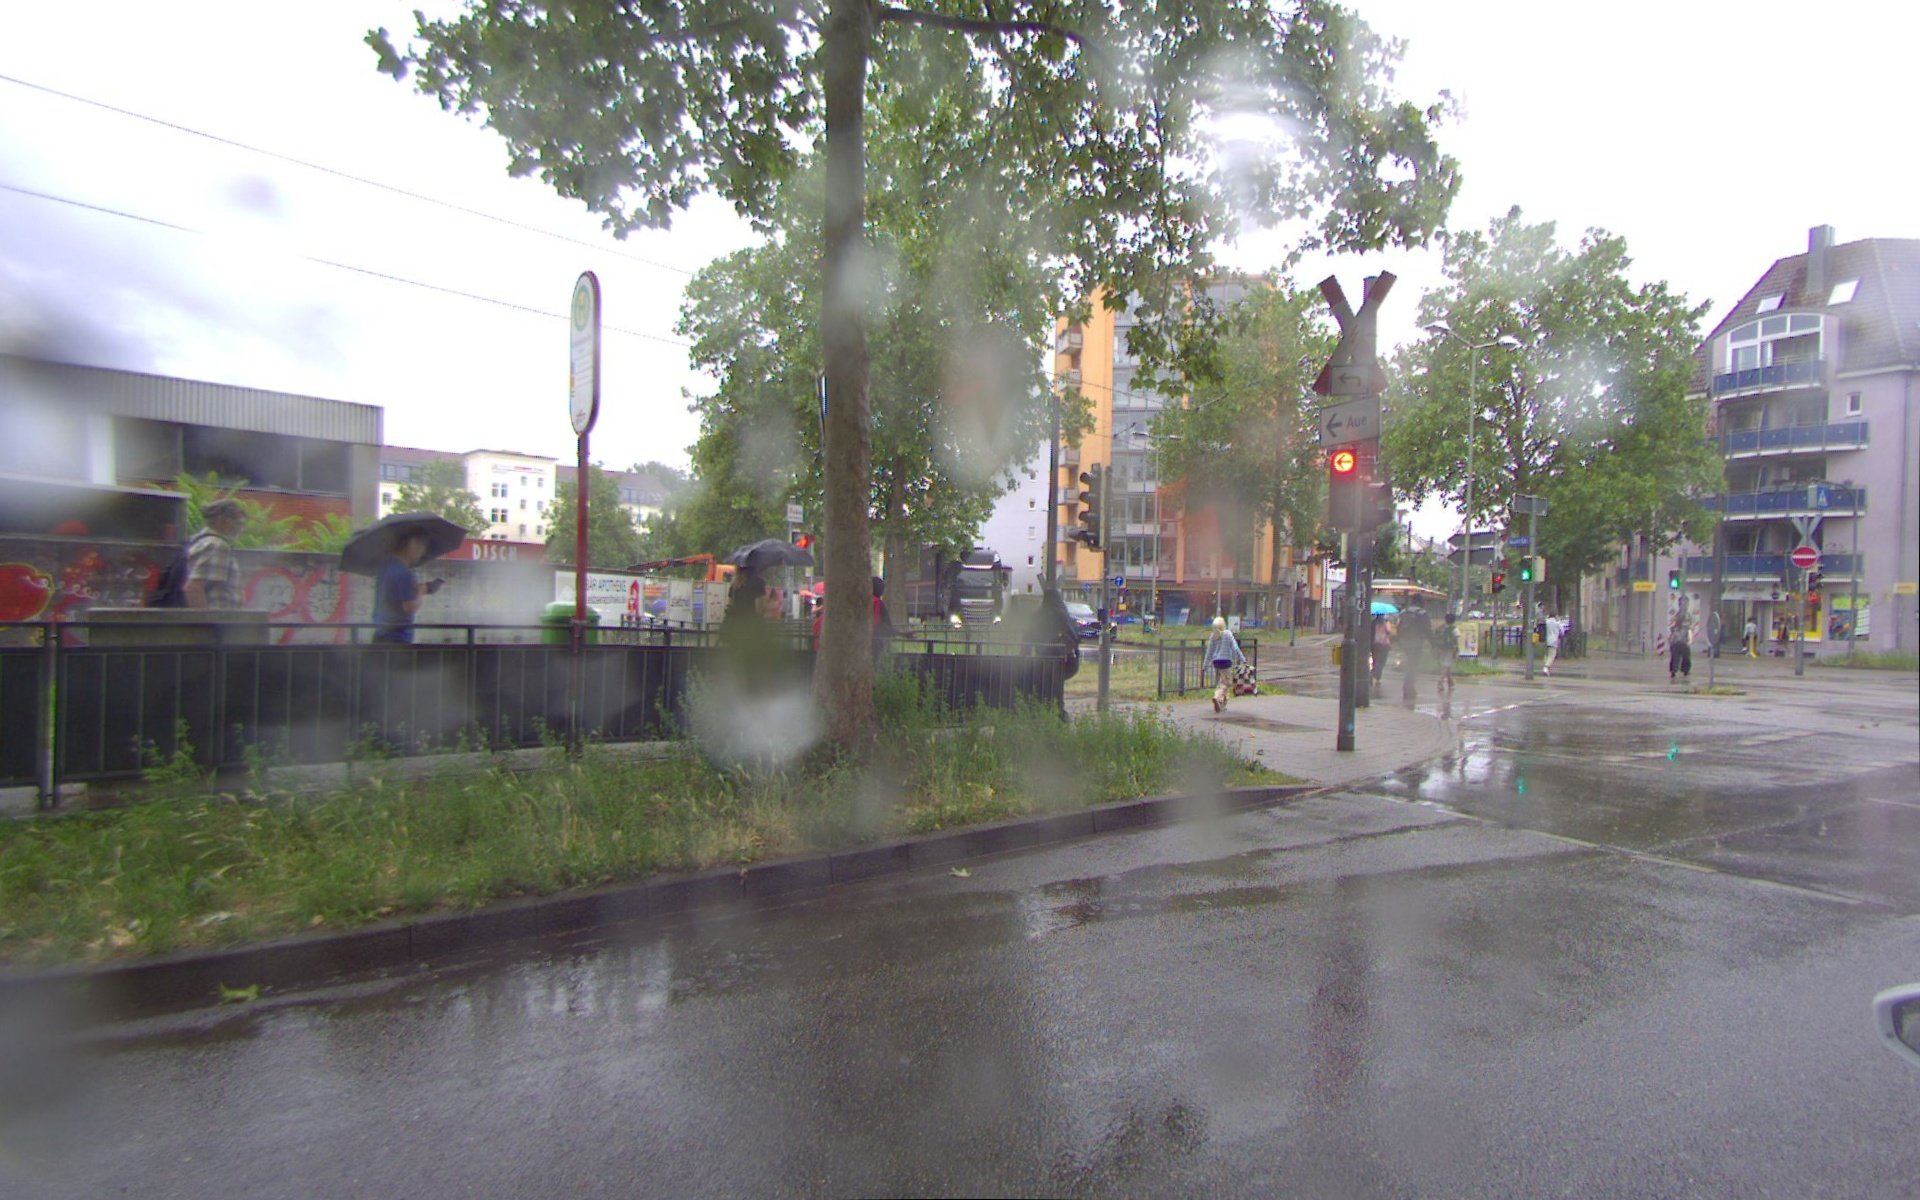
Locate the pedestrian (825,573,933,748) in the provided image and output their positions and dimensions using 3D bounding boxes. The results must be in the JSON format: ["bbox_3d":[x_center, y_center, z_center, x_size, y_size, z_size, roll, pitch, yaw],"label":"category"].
[{"bbox_3d":[-0.810,0.573,10.016,0.810,1.646,0.723,0,0,-39],"label":"pedestrian"}]

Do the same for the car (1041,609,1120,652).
[{"bbox_3d":[4.789,1.193,40.472,1.585,1.551,4.017,1,1,-19],"label":"car"}]

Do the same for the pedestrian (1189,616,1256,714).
[{"bbox_3d":[3.850,0.935,14.729,0.704,1.367,0.650,1,1,-44],"label":"pedestrian"}]

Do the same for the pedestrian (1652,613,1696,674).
[{"bbox_3d":[18.746,1.132,26.372,0.785,1.553,0.743,2,0,-41],"label":"pedestrian"}]

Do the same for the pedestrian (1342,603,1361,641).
[{"bbox_3d":[23.043,1.289,59.109,0.871,2.179,0.910,2,0,29],"label":"pedestrian"}]

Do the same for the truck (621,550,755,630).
[{"bbox_3d":[-11.757,-0.411,43.610,5.383,3.205,2.164,2,0,-16],"label":"truck"}]

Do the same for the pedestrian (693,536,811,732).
[{"bbox_3d":[-1.897,0.309,9.194,0.783,1.705,0.659,-2,0,23],"label":"pedestrian"}]

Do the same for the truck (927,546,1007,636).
[{"bbox_3d":[0.263,-0.398,46.050,2.593,3.842,4.444,2,0,-13],"label":"truck"}]

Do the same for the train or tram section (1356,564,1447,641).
[{"bbox_3d":[26.056,0.261,58.624,2.839,3.818,17.211,2,0,30],"label":"train or tram section"}]

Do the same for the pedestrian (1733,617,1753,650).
[{"bbox_3d":[35.614,1.509,45.684,0.553,1.477,0.444,2,0,-18],"label":"pedestrian"}]

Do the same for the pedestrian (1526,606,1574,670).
[{"bbox_3d":[15.455,0.993,26.302,0.956,1.622,0.670,2,0,-30],"label":"pedestrian"}]

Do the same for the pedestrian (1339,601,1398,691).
[{"bbox_3d":[8.429,0.932,20.715,0.943,1.789,0.951,2,0,31],"label":"pedestrian"}]

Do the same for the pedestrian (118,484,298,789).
[{"bbox_3d":[-4.846,0.213,6.467,0.825,1.778,0.856,1,1,-43],"label":"pedestrian"}]

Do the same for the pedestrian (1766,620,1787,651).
[{"bbox_3d":[35.970,1.572,44.258,0.551,1.347,0.444,2,0,-11],"label":"pedestrian"}]

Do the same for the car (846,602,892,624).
[{"bbox_3d":[-8.267,1.155,90.928,3.930,1.808,1.996,2,0,-12],"label":"car"}]

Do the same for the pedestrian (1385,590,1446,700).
[{"bbox_3d":[8.086,0.771,17.814,0.779,1.880,0.678,2,1,42],"label":"pedestrian"}]

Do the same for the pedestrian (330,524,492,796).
[{"bbox_3d":[-4.148,0.415,7.589,0.885,1.889,0.861,1,1,-42],"label":"pedestrian"}]

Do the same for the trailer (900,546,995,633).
[{"bbox_3d":[-0.831,-0.474,50.740,2.593,3.899,10.114,2,0,-13],"label":"trailer"}]

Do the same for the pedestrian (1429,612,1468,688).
[{"bbox_3d":[9.370,0.945,19.290,0.638,1.414,0.782,1,0,26],"label":"pedestrian"}]

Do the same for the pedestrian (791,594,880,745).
[{"bbox_3d":[-1.327,0.712,10.731,0.654,1.540,0.675,1,0,-42],"label":"pedestrian"}]

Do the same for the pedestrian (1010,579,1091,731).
[{"bbox_3d":[1.079,0.630,11.862,0.823,1.722,0.689,-1,0,17],"label":"pedestrian"}]
